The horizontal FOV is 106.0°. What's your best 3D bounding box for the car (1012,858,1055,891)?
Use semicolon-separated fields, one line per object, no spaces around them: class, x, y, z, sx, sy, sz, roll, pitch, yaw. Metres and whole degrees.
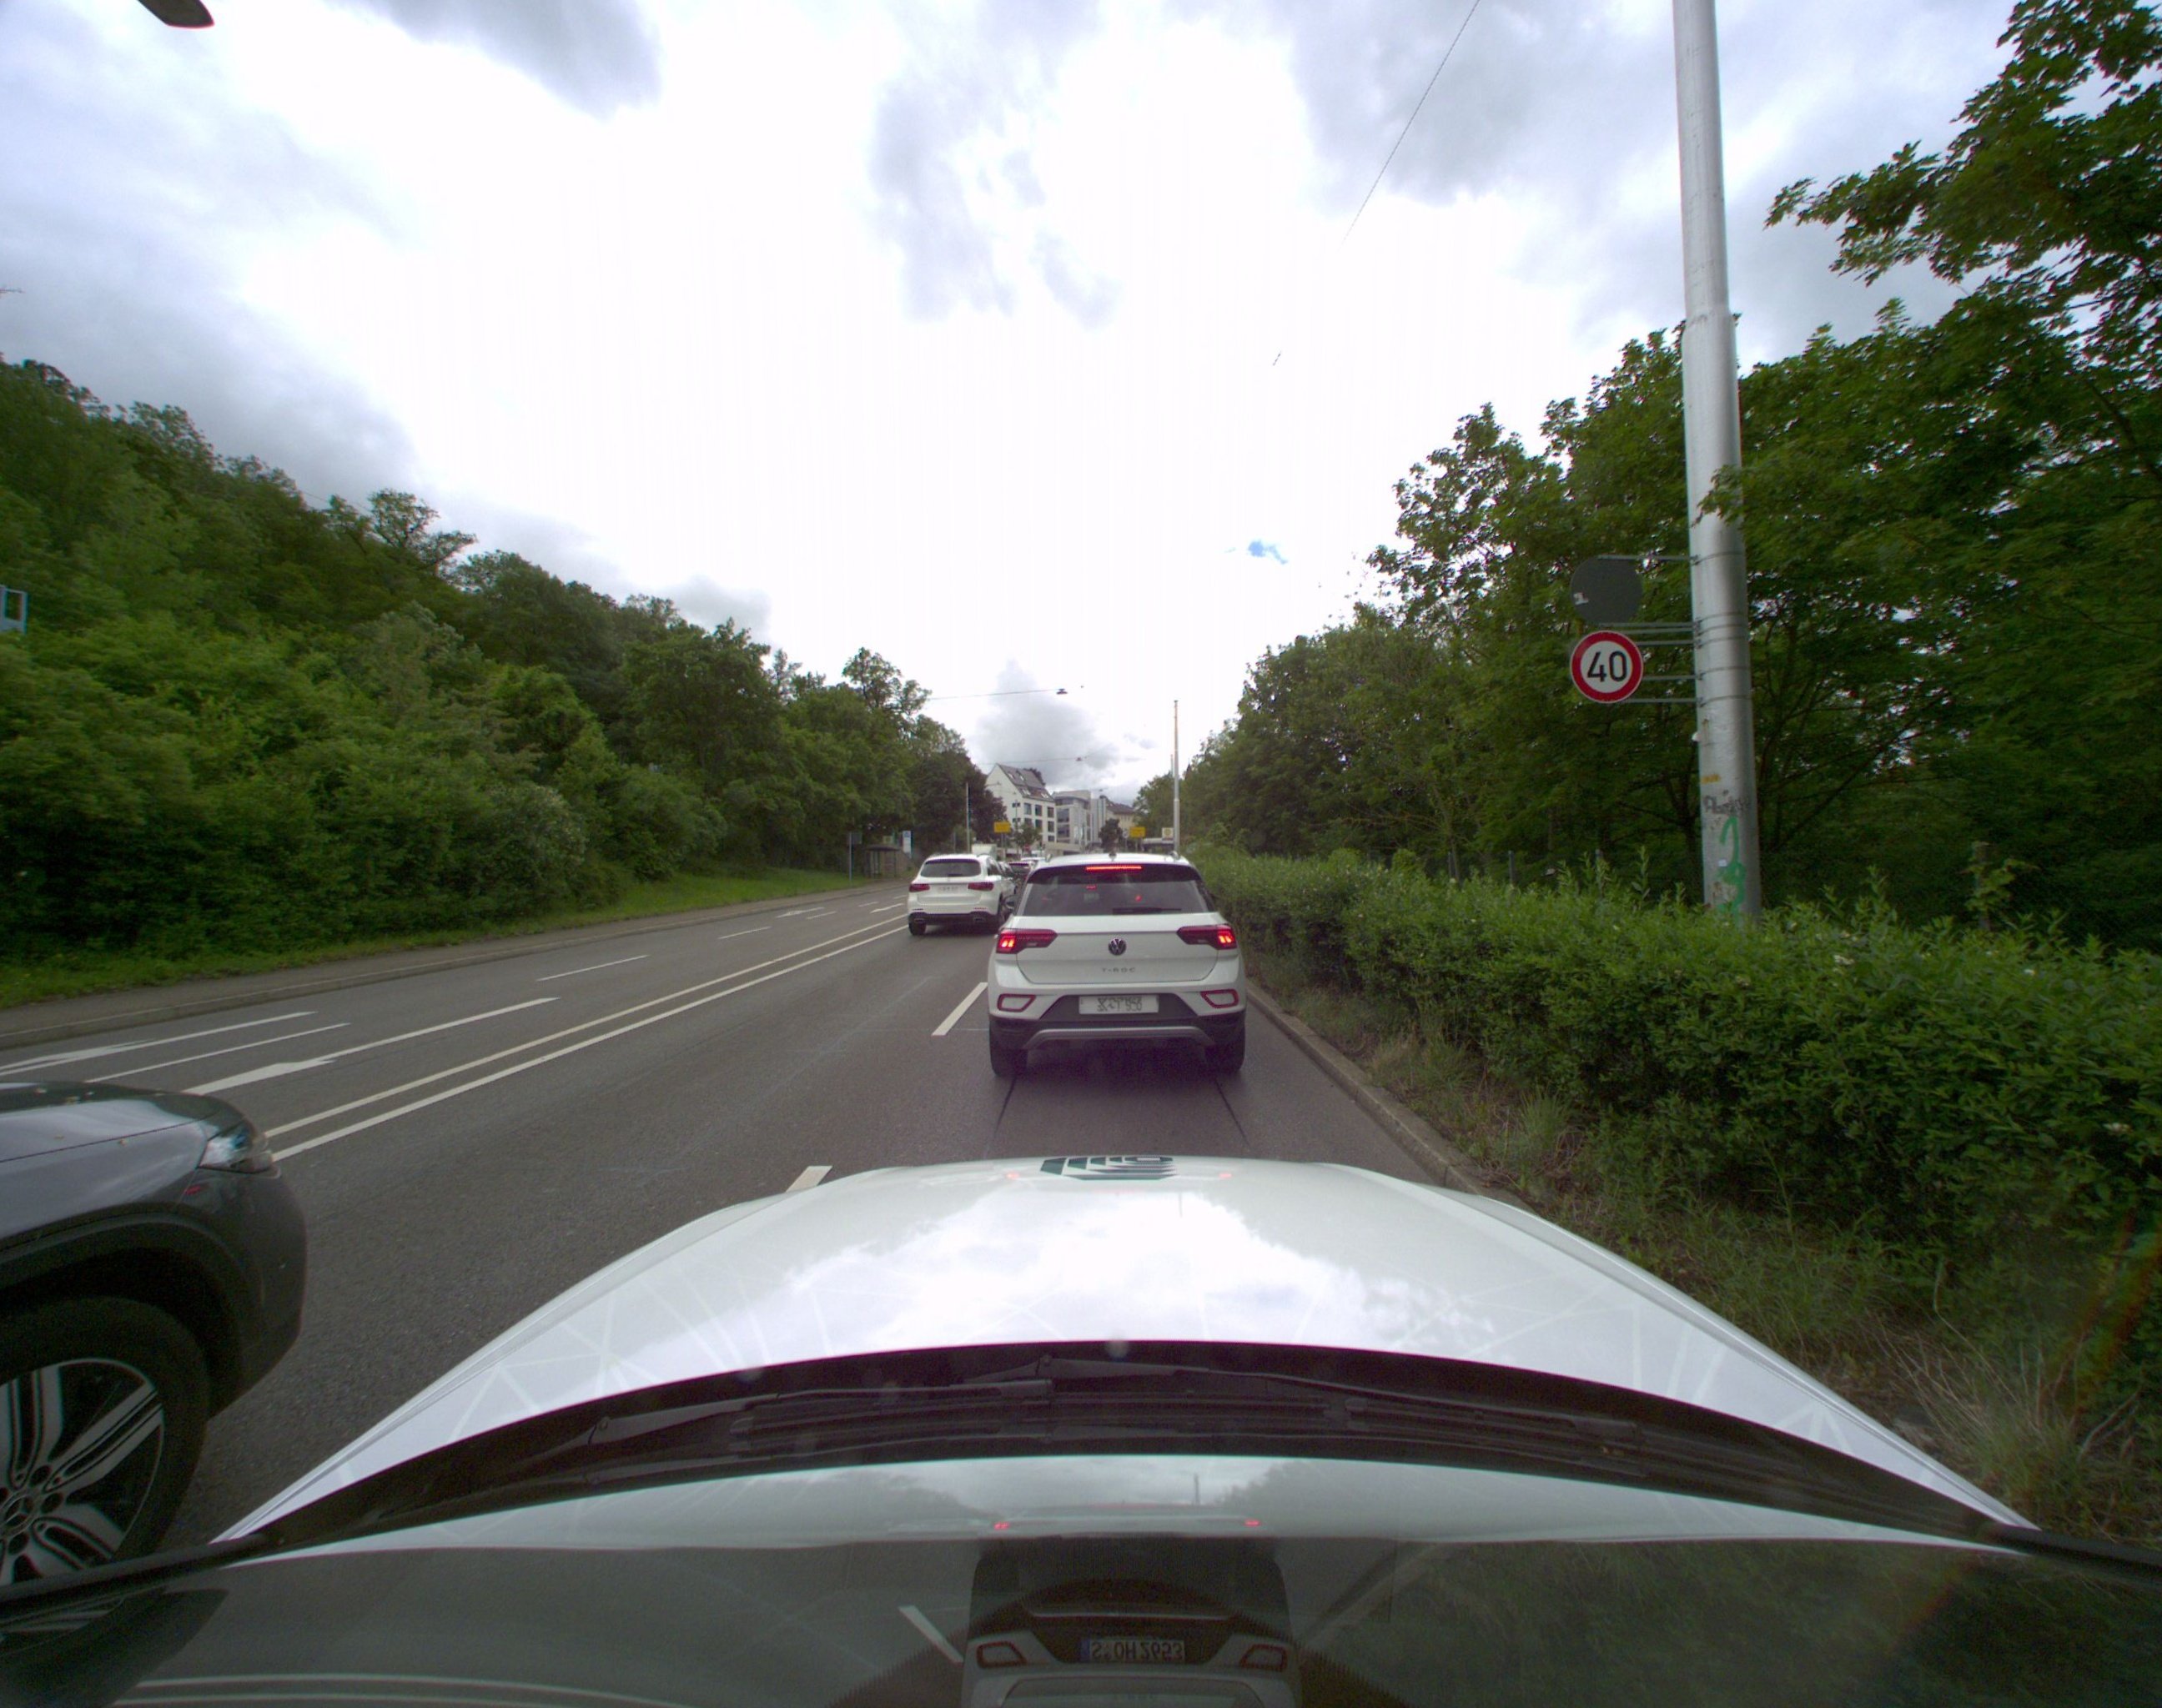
car;-2.321;0.981;40.926;1.823;1.526;4.001;-2;0;1

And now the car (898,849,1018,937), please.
car;-2.526;0.758;17.705;1.911;1.669;4.001;-1;0;1

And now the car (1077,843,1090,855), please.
car;0.390;-0.688;116.965;1.823;1.526;4.001;-2;0;1

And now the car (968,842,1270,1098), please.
car;0.272;0.720;7.027;1.823;1.526;4.001;-2;0;1

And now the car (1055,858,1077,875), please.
car;-1.354;1.146;76.399;1.823;1.526;4.001;-2;0;1

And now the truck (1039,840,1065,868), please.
truck;-3.032;0.006;85.597;2.354;2.782;4.478;-3;0;1

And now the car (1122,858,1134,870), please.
car;8.336;1.758;143.490;1.986;2.014;4.002;-3;-2;2

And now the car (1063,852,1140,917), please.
car;0.540;0.748;21.829;1.823;1.526;4.001;-2;0;1

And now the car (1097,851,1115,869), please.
car;2.921;0.738;95.878;1.986;2.013;4.001;-2;0;2

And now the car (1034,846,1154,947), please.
car;0.242;0.670;14.750;1.823;1.526;4.001;-2;0;1

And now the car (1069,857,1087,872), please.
car;-0.280;1.089;87.452;1.823;1.526;4.001;-2;0;1

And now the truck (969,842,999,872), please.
truck;-10.272;0.336;87.160;2.286;3.051;6.977;-2;-1;0

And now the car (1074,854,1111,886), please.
car;0.605;0.805;42.425;1.823;1.526;4.001;-2;0;1

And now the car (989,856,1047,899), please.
car;-2.399;0.876;31.866;1.823;1.526;4.001;-2;0;1

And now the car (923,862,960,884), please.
car;-9.904;1.336;58.079;1.673;1.395;4.361;-3;0;1

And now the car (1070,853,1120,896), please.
car;0.553;0.754;32.094;1.823;1.526;4.001;-2;0;1

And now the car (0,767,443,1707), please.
car;-2.772;0.692;0.141;1.843;1.651;4.357;-1;0;0

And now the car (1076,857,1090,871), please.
car;0.259;1.348;109.572;1.809;1.656;3.929;-3;0;1

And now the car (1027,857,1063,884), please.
car;-2.102;0.959;48.791;1.823;1.526;4.001;-2;0;1

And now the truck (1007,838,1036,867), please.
truck;-5.878;-0.159;81.028;2.354;2.706;4.478;-3;0;1

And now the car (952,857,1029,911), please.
car;-2.718;0.864;25.331;1.823;1.497;4.001;-2;0;1

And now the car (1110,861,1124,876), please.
car;5.207;2.087;117.243;1.986;2.014;4.002;-3;-2;2
